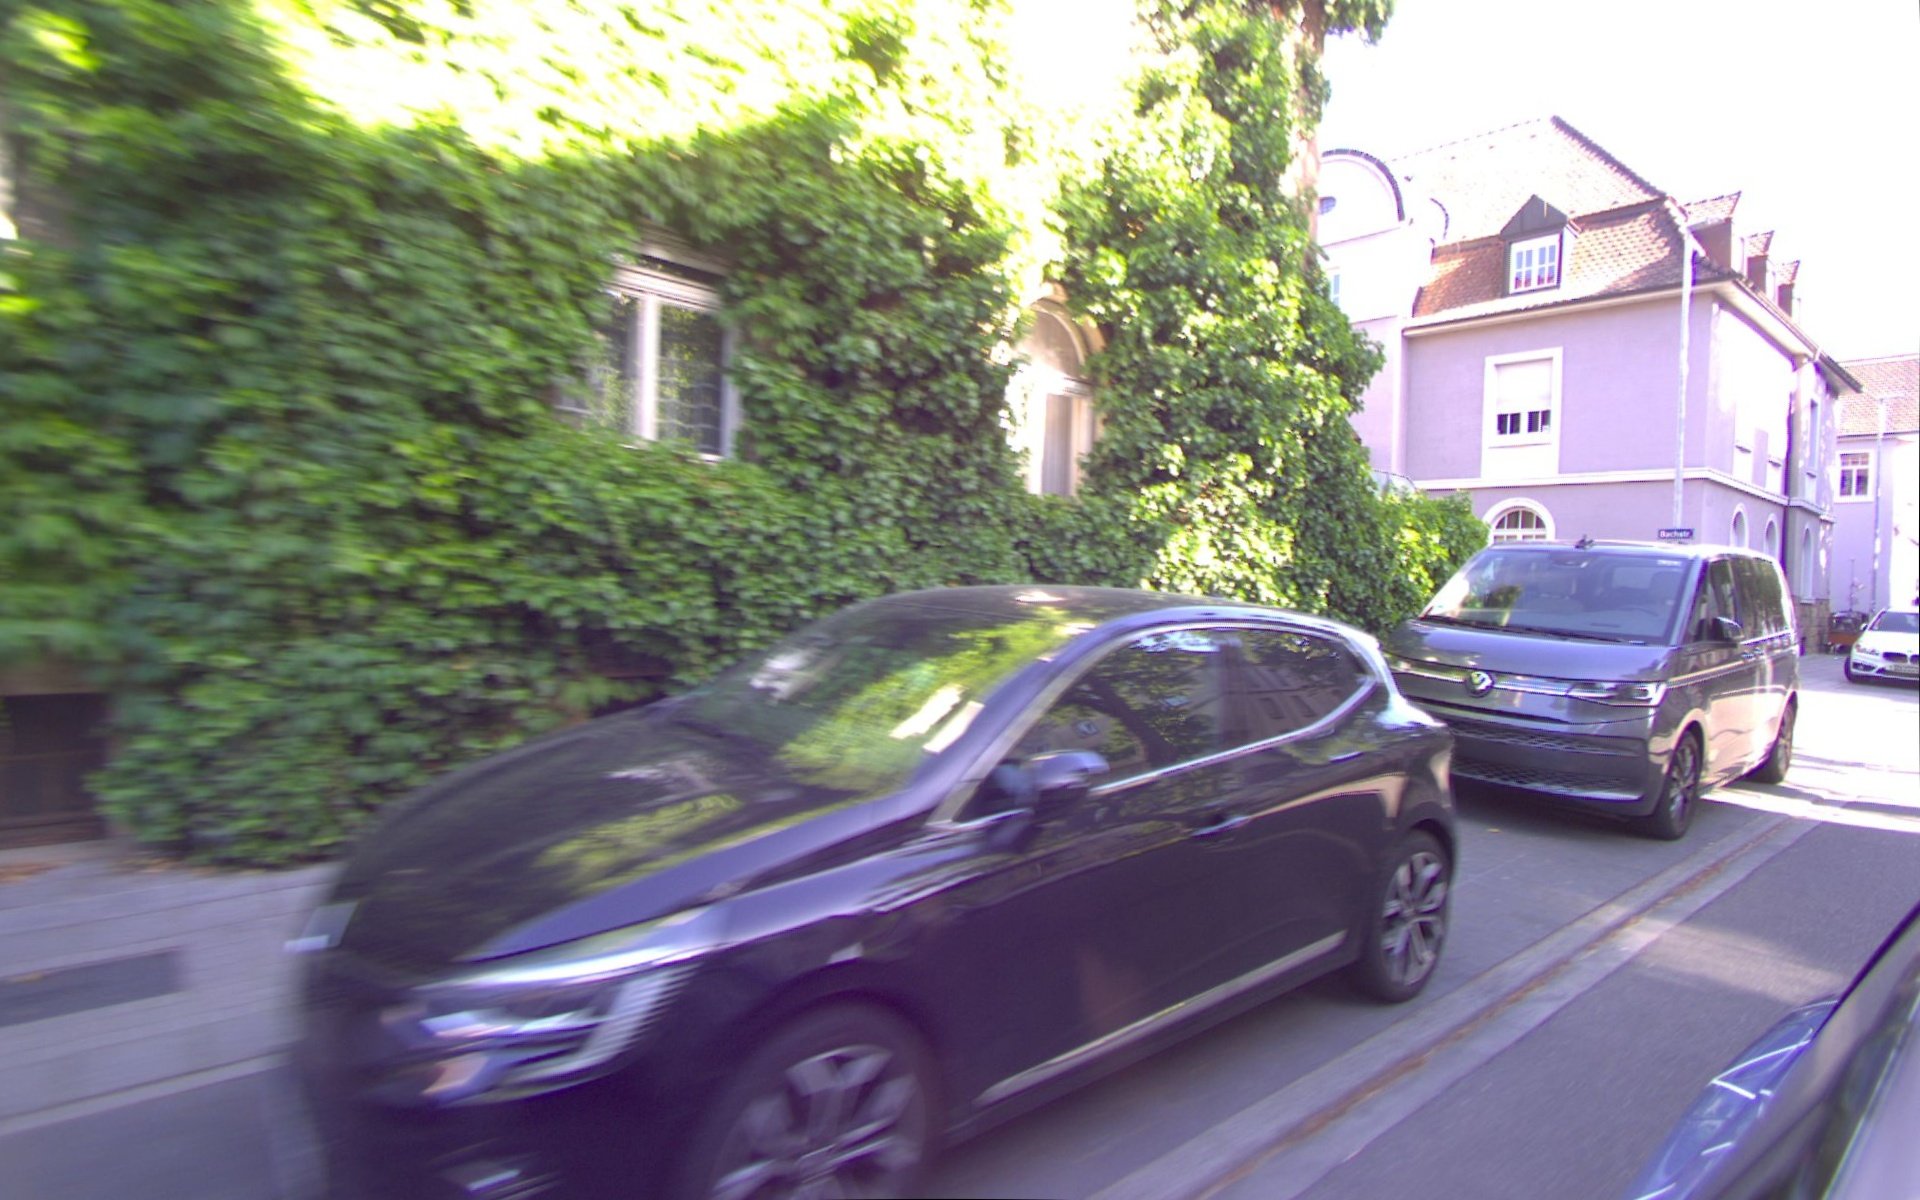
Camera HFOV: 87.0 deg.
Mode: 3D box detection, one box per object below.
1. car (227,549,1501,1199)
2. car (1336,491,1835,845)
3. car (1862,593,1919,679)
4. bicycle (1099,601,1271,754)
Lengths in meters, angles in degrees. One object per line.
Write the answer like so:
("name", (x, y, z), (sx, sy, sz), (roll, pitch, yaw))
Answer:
("car", (0.099, 0.629, 3.326), (3.938, 1.439, 1.640), (0, 2, -41))
("car", (5.013, 0.341, 7.782), (4.765, 1.932, 1.856), (0, 2, -41))
("car", (19.411, 0.703, 20.148), (4.037, 1.574, 1.811), (0, 2, -44))
("bicycle", (1.883, 0.589, 8.348), (1.630, 1.123, 0.462), (0, 3, -41))
